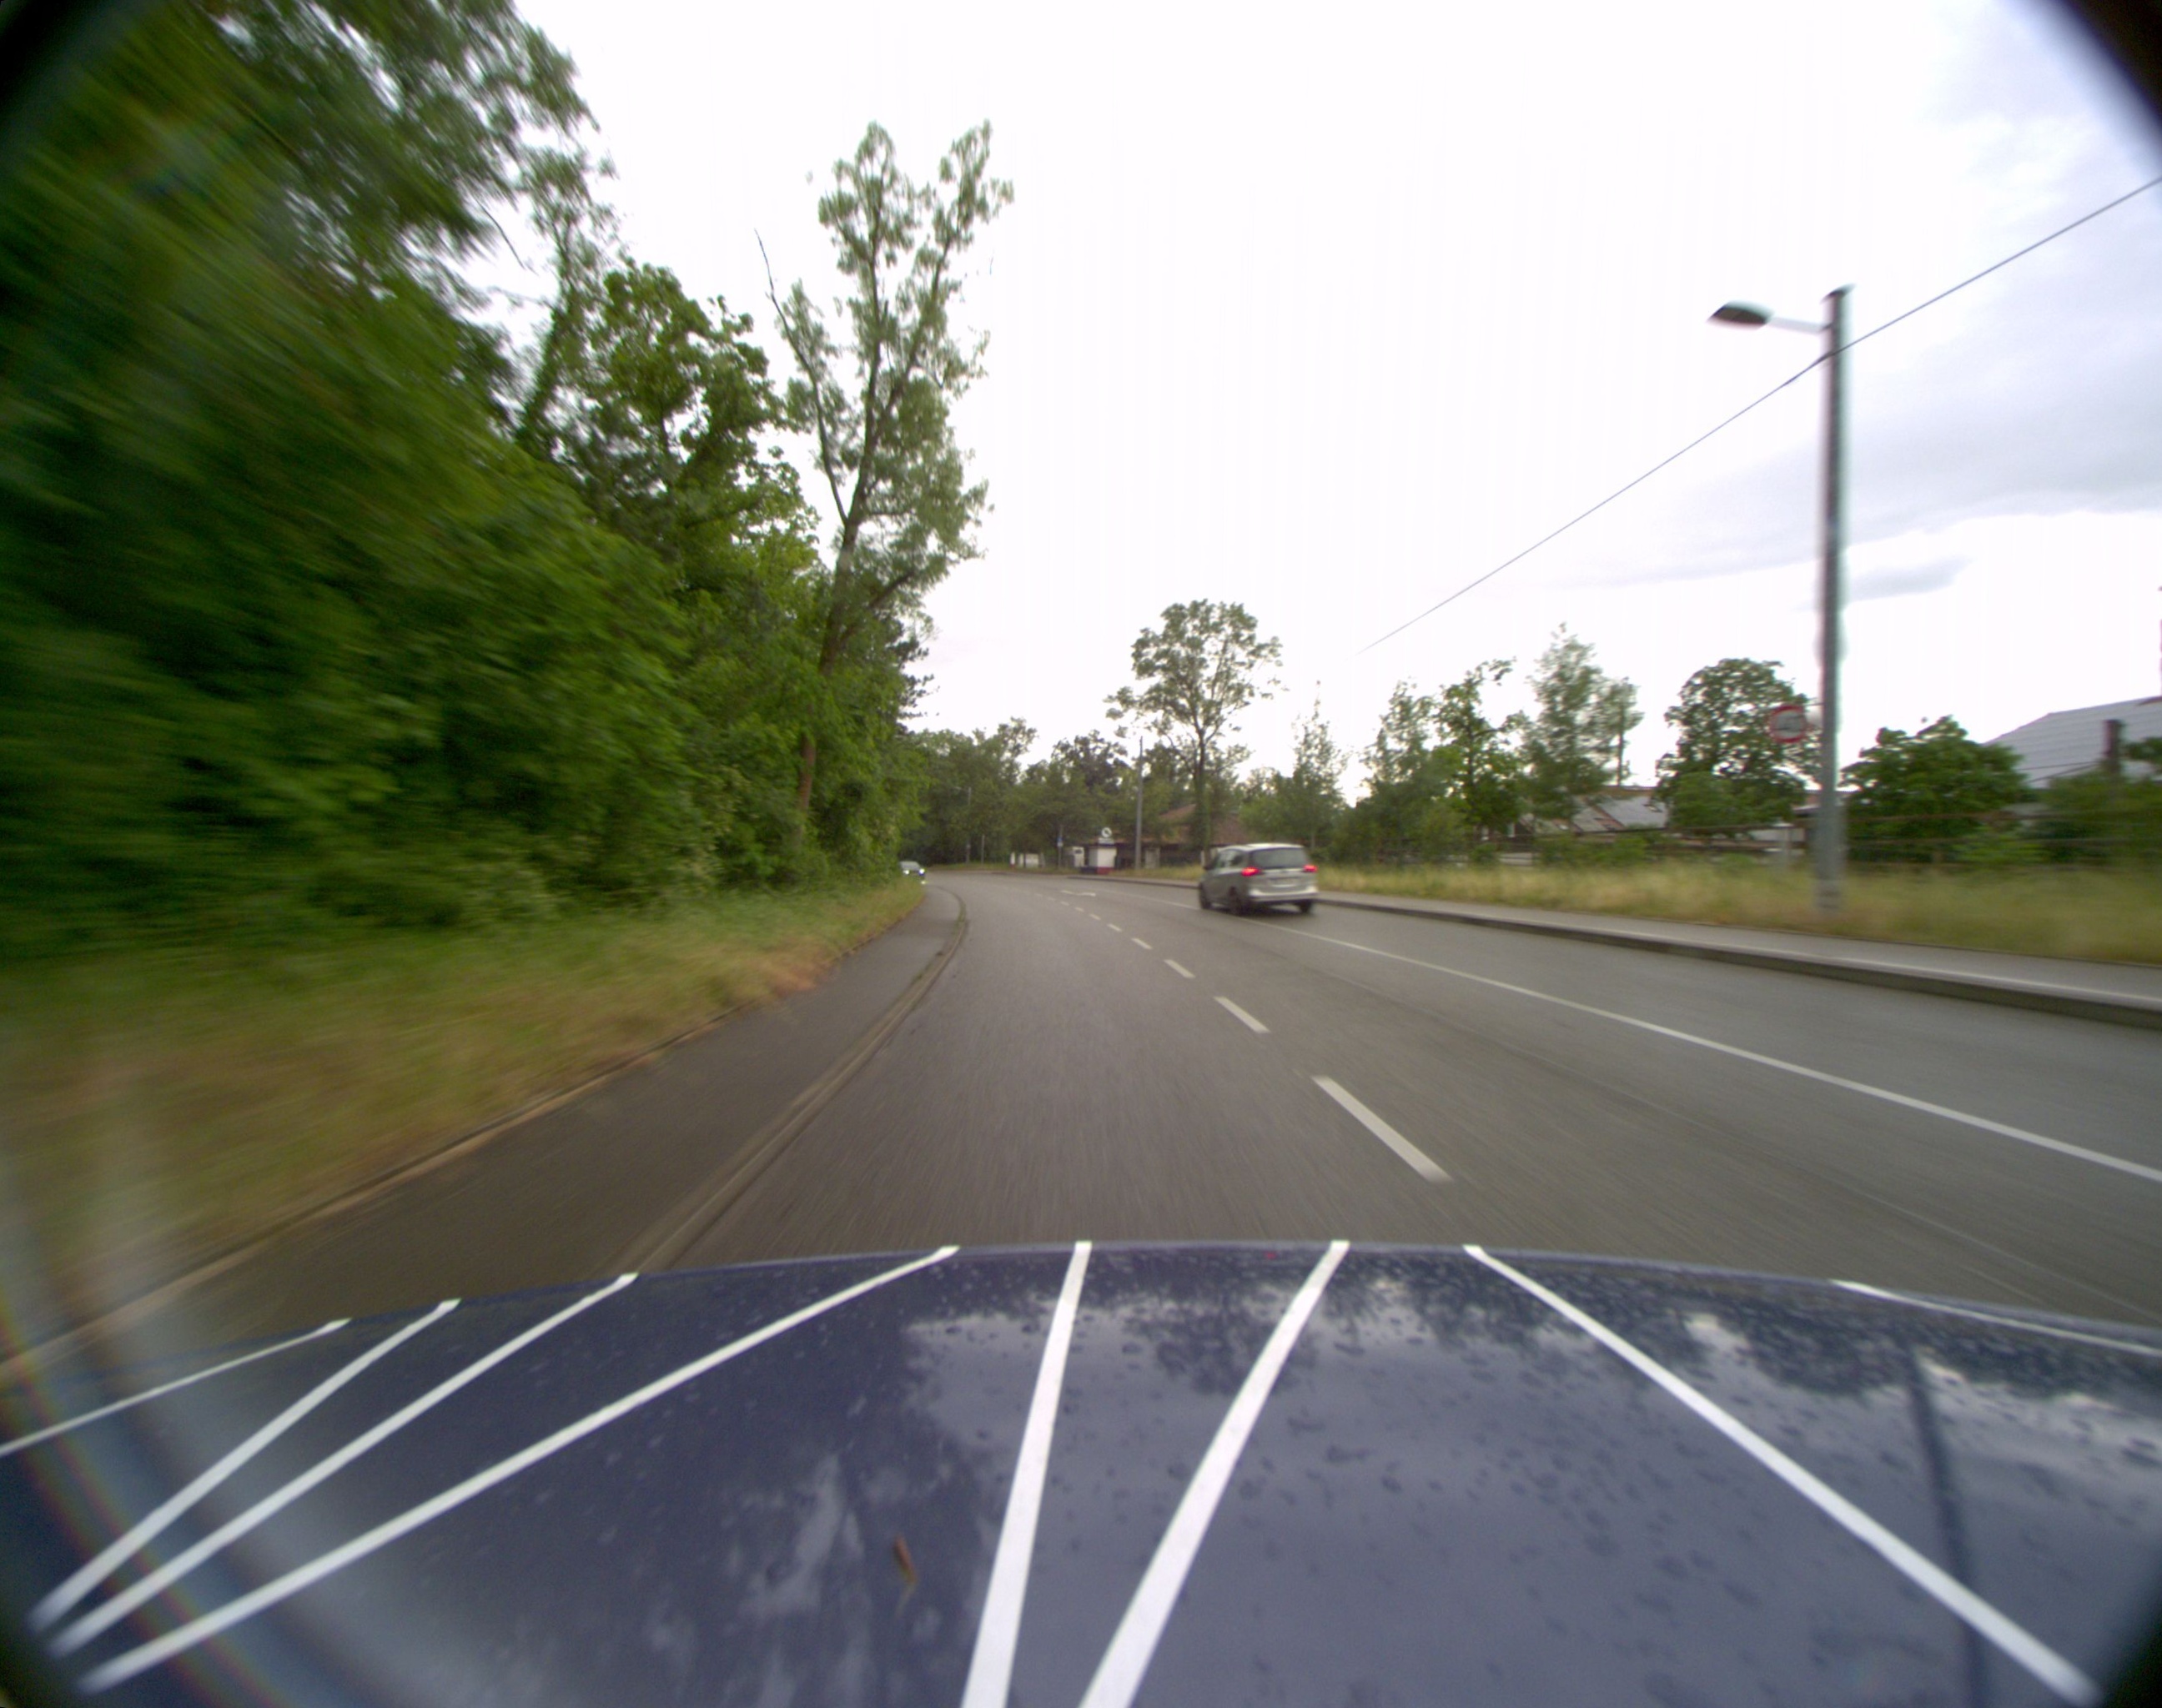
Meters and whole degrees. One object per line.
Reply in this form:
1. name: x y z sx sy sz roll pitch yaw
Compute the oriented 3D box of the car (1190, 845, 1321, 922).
1. car: 4.134 0.629 18.780 1.764 1.605 4.415 -2 0 -6
